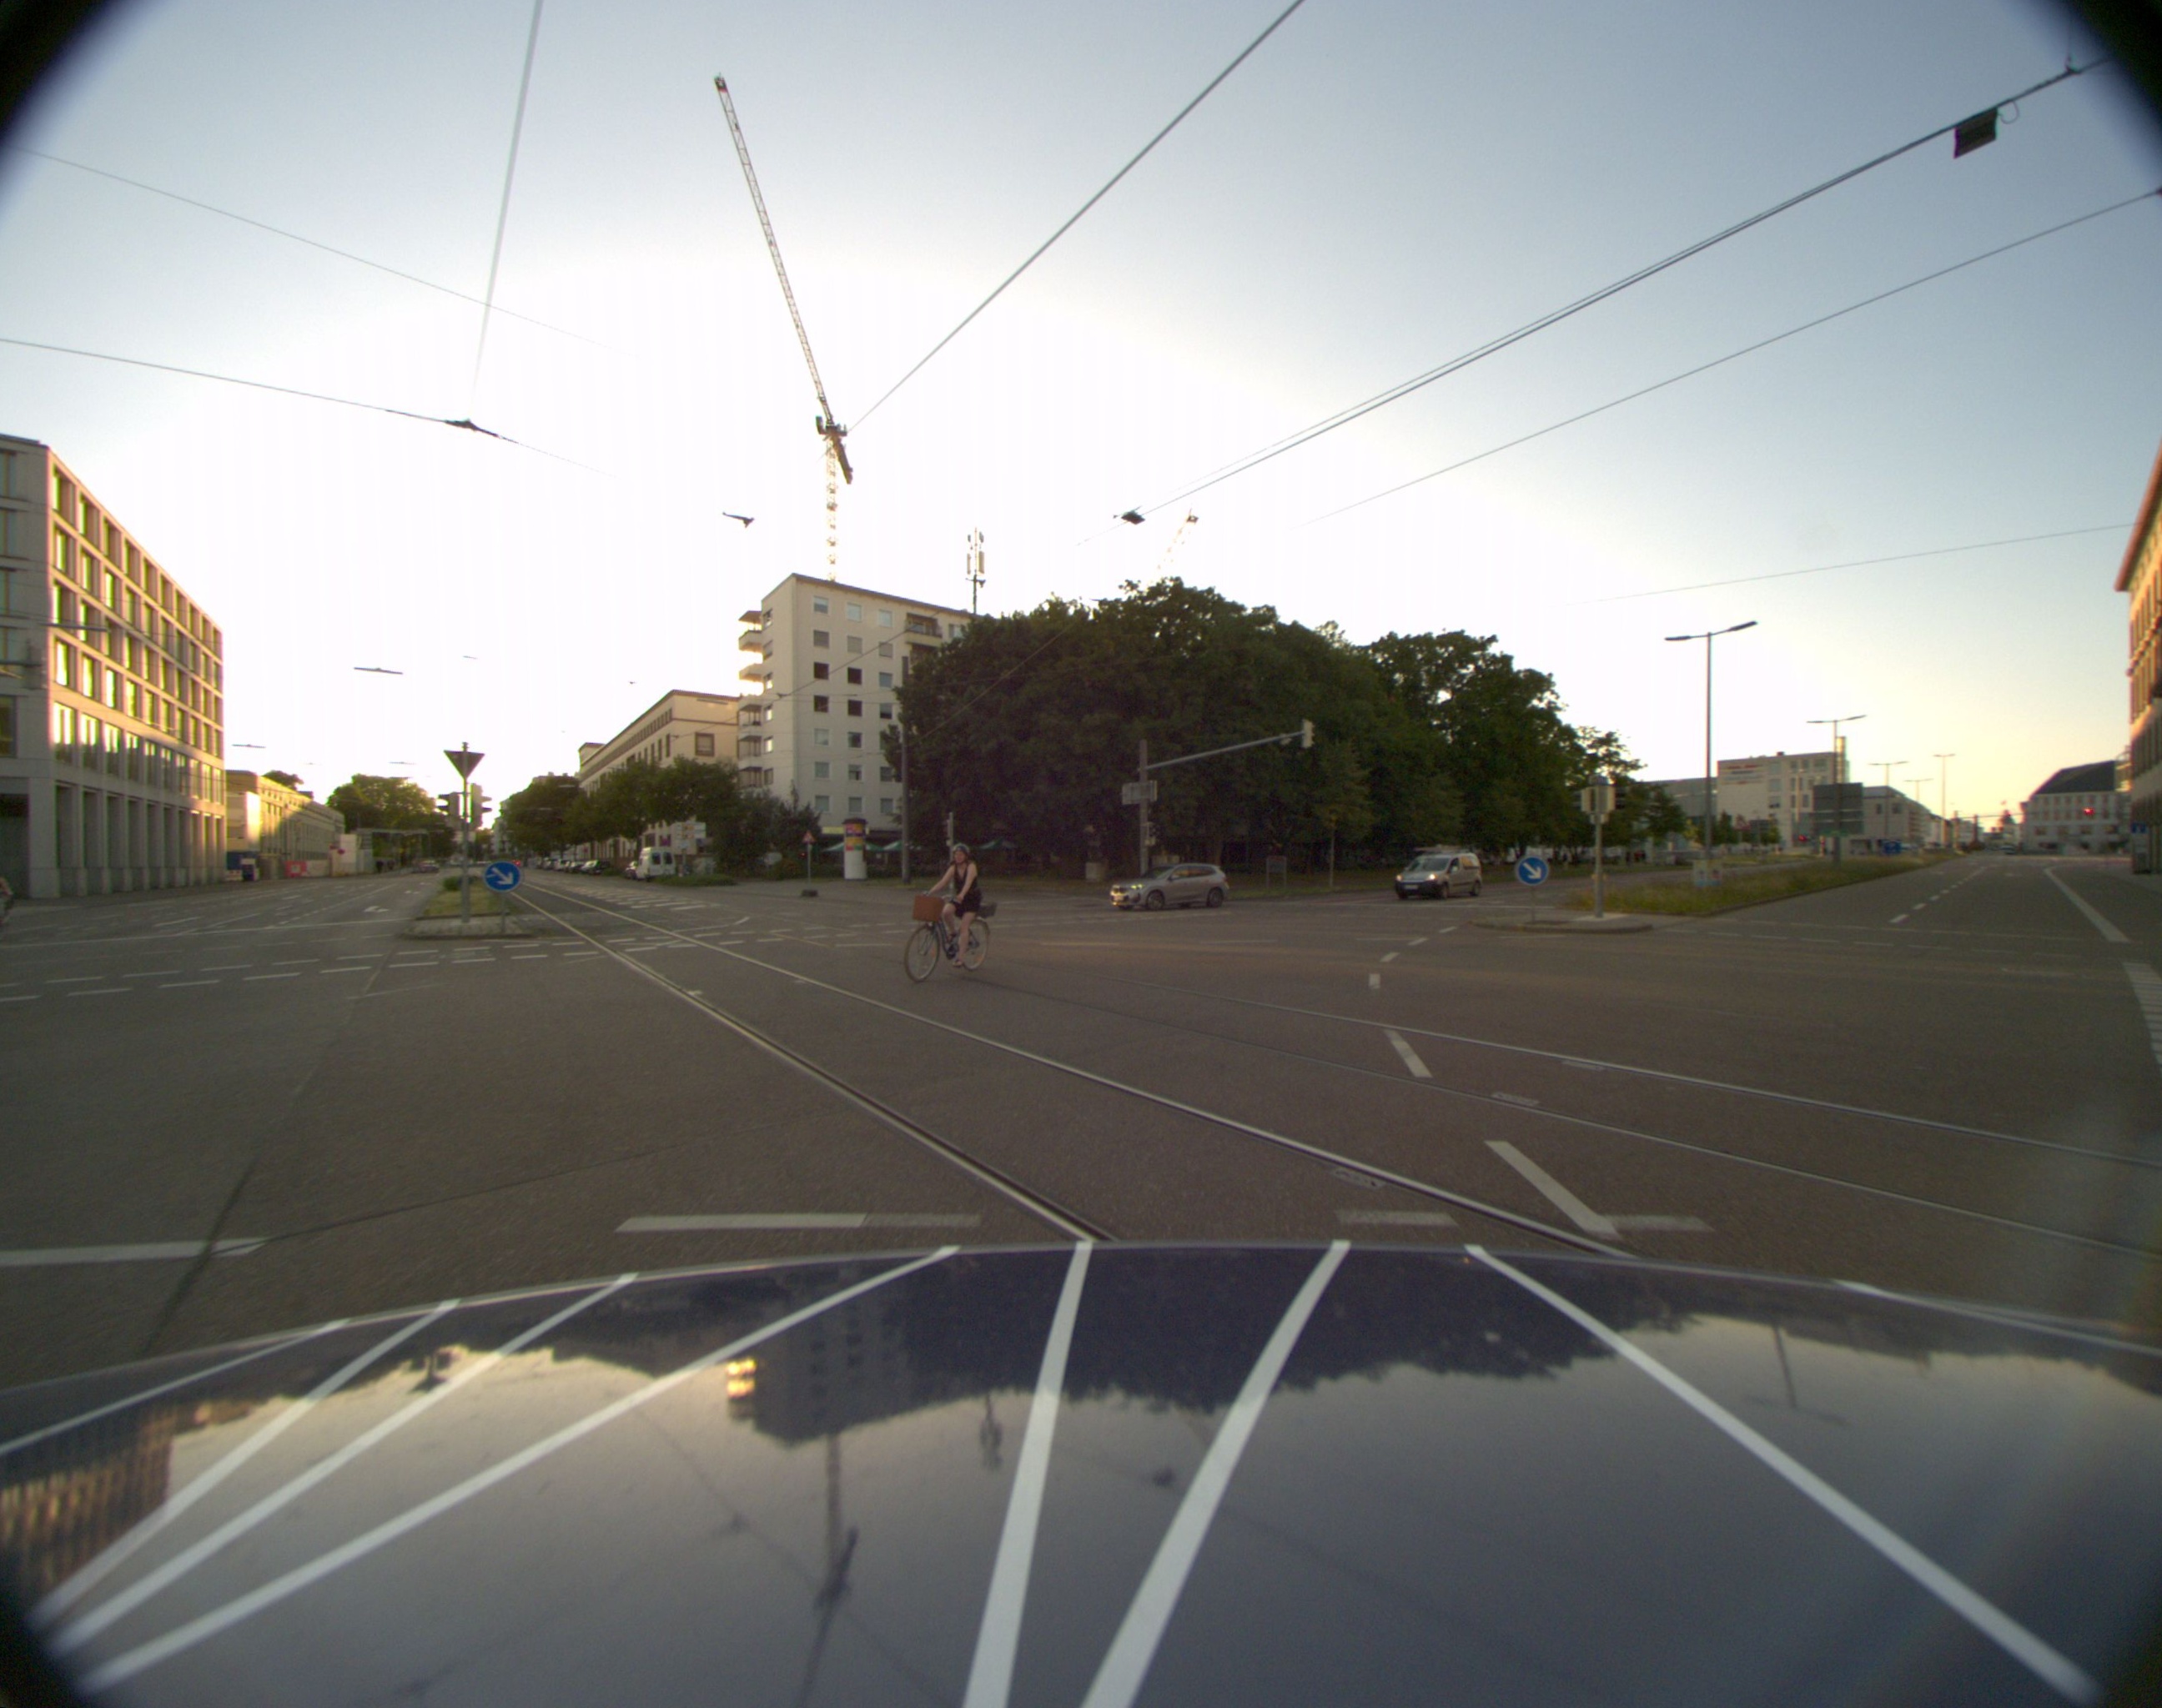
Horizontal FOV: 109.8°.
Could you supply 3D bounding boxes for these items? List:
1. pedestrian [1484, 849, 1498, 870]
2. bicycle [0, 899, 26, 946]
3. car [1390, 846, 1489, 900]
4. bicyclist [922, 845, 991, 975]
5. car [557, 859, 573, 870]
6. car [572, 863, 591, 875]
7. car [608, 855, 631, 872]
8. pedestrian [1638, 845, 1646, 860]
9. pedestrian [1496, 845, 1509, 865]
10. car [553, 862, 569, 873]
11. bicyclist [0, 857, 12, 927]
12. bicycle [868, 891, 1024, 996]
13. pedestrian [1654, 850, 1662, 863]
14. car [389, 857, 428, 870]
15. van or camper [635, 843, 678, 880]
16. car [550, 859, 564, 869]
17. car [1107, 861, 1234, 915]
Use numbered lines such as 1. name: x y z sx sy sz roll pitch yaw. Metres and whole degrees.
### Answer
1. pedestrian: 32.234 0.427 59.736 0.679 1.585 0.644 -2 1 -37
2. bicycle: -25.489 1.619 17.647 0.541 1.045 1.756 -2 1 -34
3. car: 14.020 0.687 29.626 4.474 1.900 1.801 -1 1 -41
4. bicyclist: -1.622 0.698 9.918 0.608 1.626 0.598 0 1 39
5. car: -72.538 1.467 106.844 1.726 1.478 3.799 -1 0 -35
6. car: -60.523 1.824 92.014 1.726 1.422 3.799 -1 0 -36
7. car: -46.315 0.948 76.205 1.726 1.695 3.799 -1 0 -35
8. pedestrian: 59.398 -0.155 80.461 0.630 1.656 0.647 1 2 38
9. pedestrian: 32.801 0.071 59.129 0.647 1.487 0.676 -2 1 -38
10. car: -73.039 1.887 106.705 1.726 1.422 3.799 -1 0 -36
11. bicyclist: -25.533 0.894 17.692 0.542 1.626 0.595 -1 1 -33
12. bicycle: -1.681 1.084 9.834 0.608 1.108 2.090 -1 1 39
13. pedestrian: 59.890 0.232 78.916 0.630 1.387 0.647 0 1 38
14. car: -89.465 1.304 101.154 3.817 1.639 1.858 -1 0 -40
15. van or camper: -31.592 0.525 56.479 2.116 2.666 4.697 -1 1 -38
16. car: -81.533 1.576 118.121 1.726 1.478 3.799 -1 0 -35
17. car: 3.217 1.133 26.828 4.354 1.654 1.882 -1 0 -37
